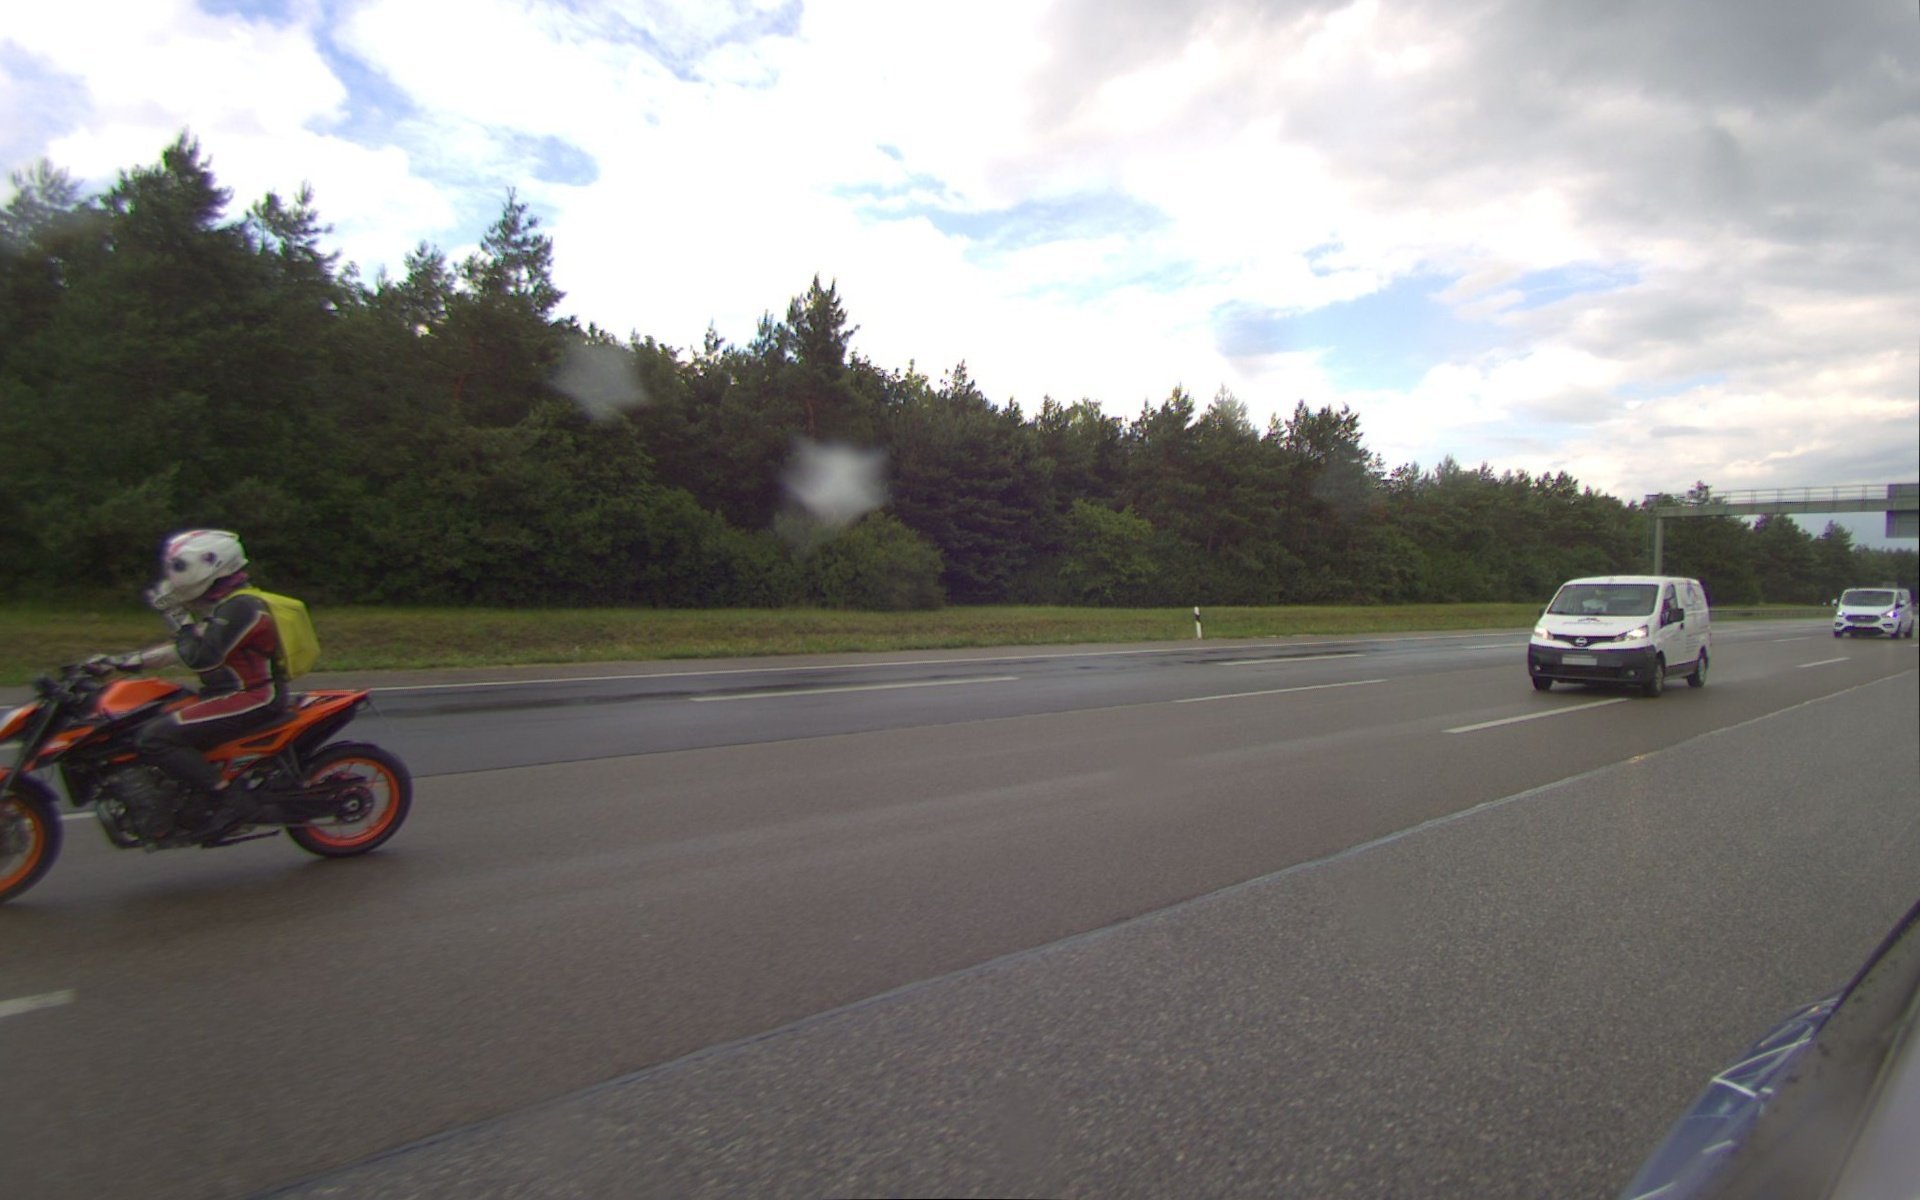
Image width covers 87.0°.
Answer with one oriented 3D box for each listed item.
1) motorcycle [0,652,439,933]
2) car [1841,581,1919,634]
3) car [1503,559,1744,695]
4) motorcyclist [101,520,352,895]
[{"bbox_3d":[-3.828,0.842,4.933,2.135,1.044,1.002,0,1,-40],"label":"motorcycle"},{"bbox_3d":[37.734,0.284,41.037,5.381,2.039,1.999,0,0,-37],"label":"car"},{"bbox_3d":[10.944,0.358,16.555,4.794,1.925,1.968,0,1,-39],"label":"car"},{"bbox_3d":[-3.656,0.459,5.054,0.942,1.635,0.893,0,0,-39],"label":"motorcyclist"}]
